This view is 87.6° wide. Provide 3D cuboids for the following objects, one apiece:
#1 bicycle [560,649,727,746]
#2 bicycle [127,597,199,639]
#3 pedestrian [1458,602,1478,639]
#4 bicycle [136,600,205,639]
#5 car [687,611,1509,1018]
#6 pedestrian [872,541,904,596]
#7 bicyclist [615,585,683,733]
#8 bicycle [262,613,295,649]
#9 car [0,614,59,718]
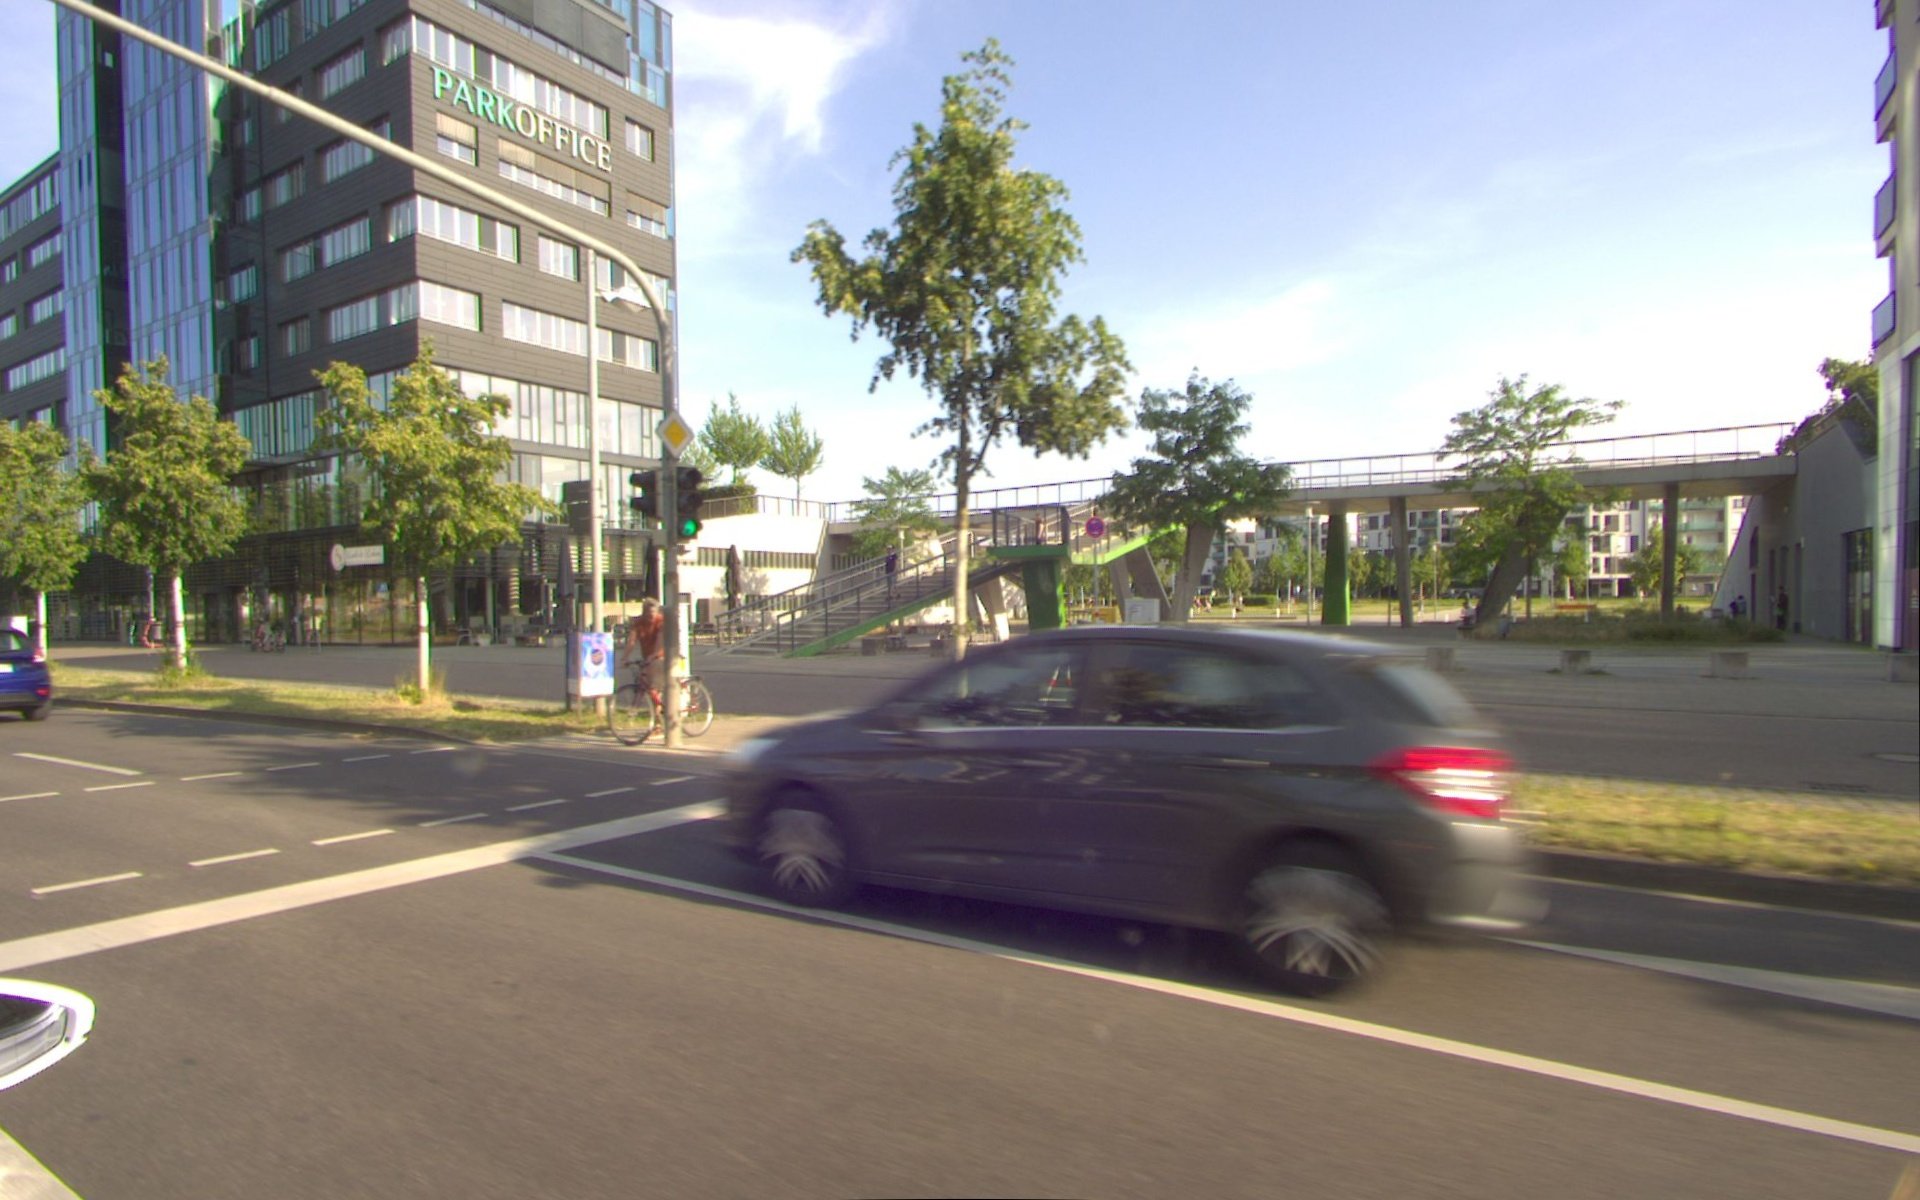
[{"bbox_3d":[-3.763,1.130,12.122,0.563,1.025,2.132,0,-2,29],"label":"bicycle"},{"bbox_3d":[-37.129,0.851,46.684,0.563,1.881,2.552,-1,-2,42],"label":"bicycle"},{"bbox_3d":[18.122,0.728,35.705,0.573,1.311,0.595,-1,-1,33],"label":"pedestrian"},{"bbox_3d":[-36.316,0.923,46.112,0.548,1.768,2.423,-1,-2,42],"label":"bicycle"},{"bbox_3d":[0.624,0.815,5.298,3.979,1.442,1.693,-1,-2,30],"label":"car"},{"bbox_3d":[-2.342,-1.002,32.592,0.689,1.713,0.779,1,-1,-44],"label":"pedestrian"},{"bbox_3d":[-3.754,0.700,12.107,0.533,1.729,0.574,0,-1,30],"label":"bicyclist"},{"bbox_3d":[-26.191,1.208,38.459,1.868,1.363,0.372,-1,-1,34],"label":"bicycle"},{"bbox_3d":[-15.121,0.923,14.749,3.847,1.442,1.559,0,-1,29],"label":"car"}]
